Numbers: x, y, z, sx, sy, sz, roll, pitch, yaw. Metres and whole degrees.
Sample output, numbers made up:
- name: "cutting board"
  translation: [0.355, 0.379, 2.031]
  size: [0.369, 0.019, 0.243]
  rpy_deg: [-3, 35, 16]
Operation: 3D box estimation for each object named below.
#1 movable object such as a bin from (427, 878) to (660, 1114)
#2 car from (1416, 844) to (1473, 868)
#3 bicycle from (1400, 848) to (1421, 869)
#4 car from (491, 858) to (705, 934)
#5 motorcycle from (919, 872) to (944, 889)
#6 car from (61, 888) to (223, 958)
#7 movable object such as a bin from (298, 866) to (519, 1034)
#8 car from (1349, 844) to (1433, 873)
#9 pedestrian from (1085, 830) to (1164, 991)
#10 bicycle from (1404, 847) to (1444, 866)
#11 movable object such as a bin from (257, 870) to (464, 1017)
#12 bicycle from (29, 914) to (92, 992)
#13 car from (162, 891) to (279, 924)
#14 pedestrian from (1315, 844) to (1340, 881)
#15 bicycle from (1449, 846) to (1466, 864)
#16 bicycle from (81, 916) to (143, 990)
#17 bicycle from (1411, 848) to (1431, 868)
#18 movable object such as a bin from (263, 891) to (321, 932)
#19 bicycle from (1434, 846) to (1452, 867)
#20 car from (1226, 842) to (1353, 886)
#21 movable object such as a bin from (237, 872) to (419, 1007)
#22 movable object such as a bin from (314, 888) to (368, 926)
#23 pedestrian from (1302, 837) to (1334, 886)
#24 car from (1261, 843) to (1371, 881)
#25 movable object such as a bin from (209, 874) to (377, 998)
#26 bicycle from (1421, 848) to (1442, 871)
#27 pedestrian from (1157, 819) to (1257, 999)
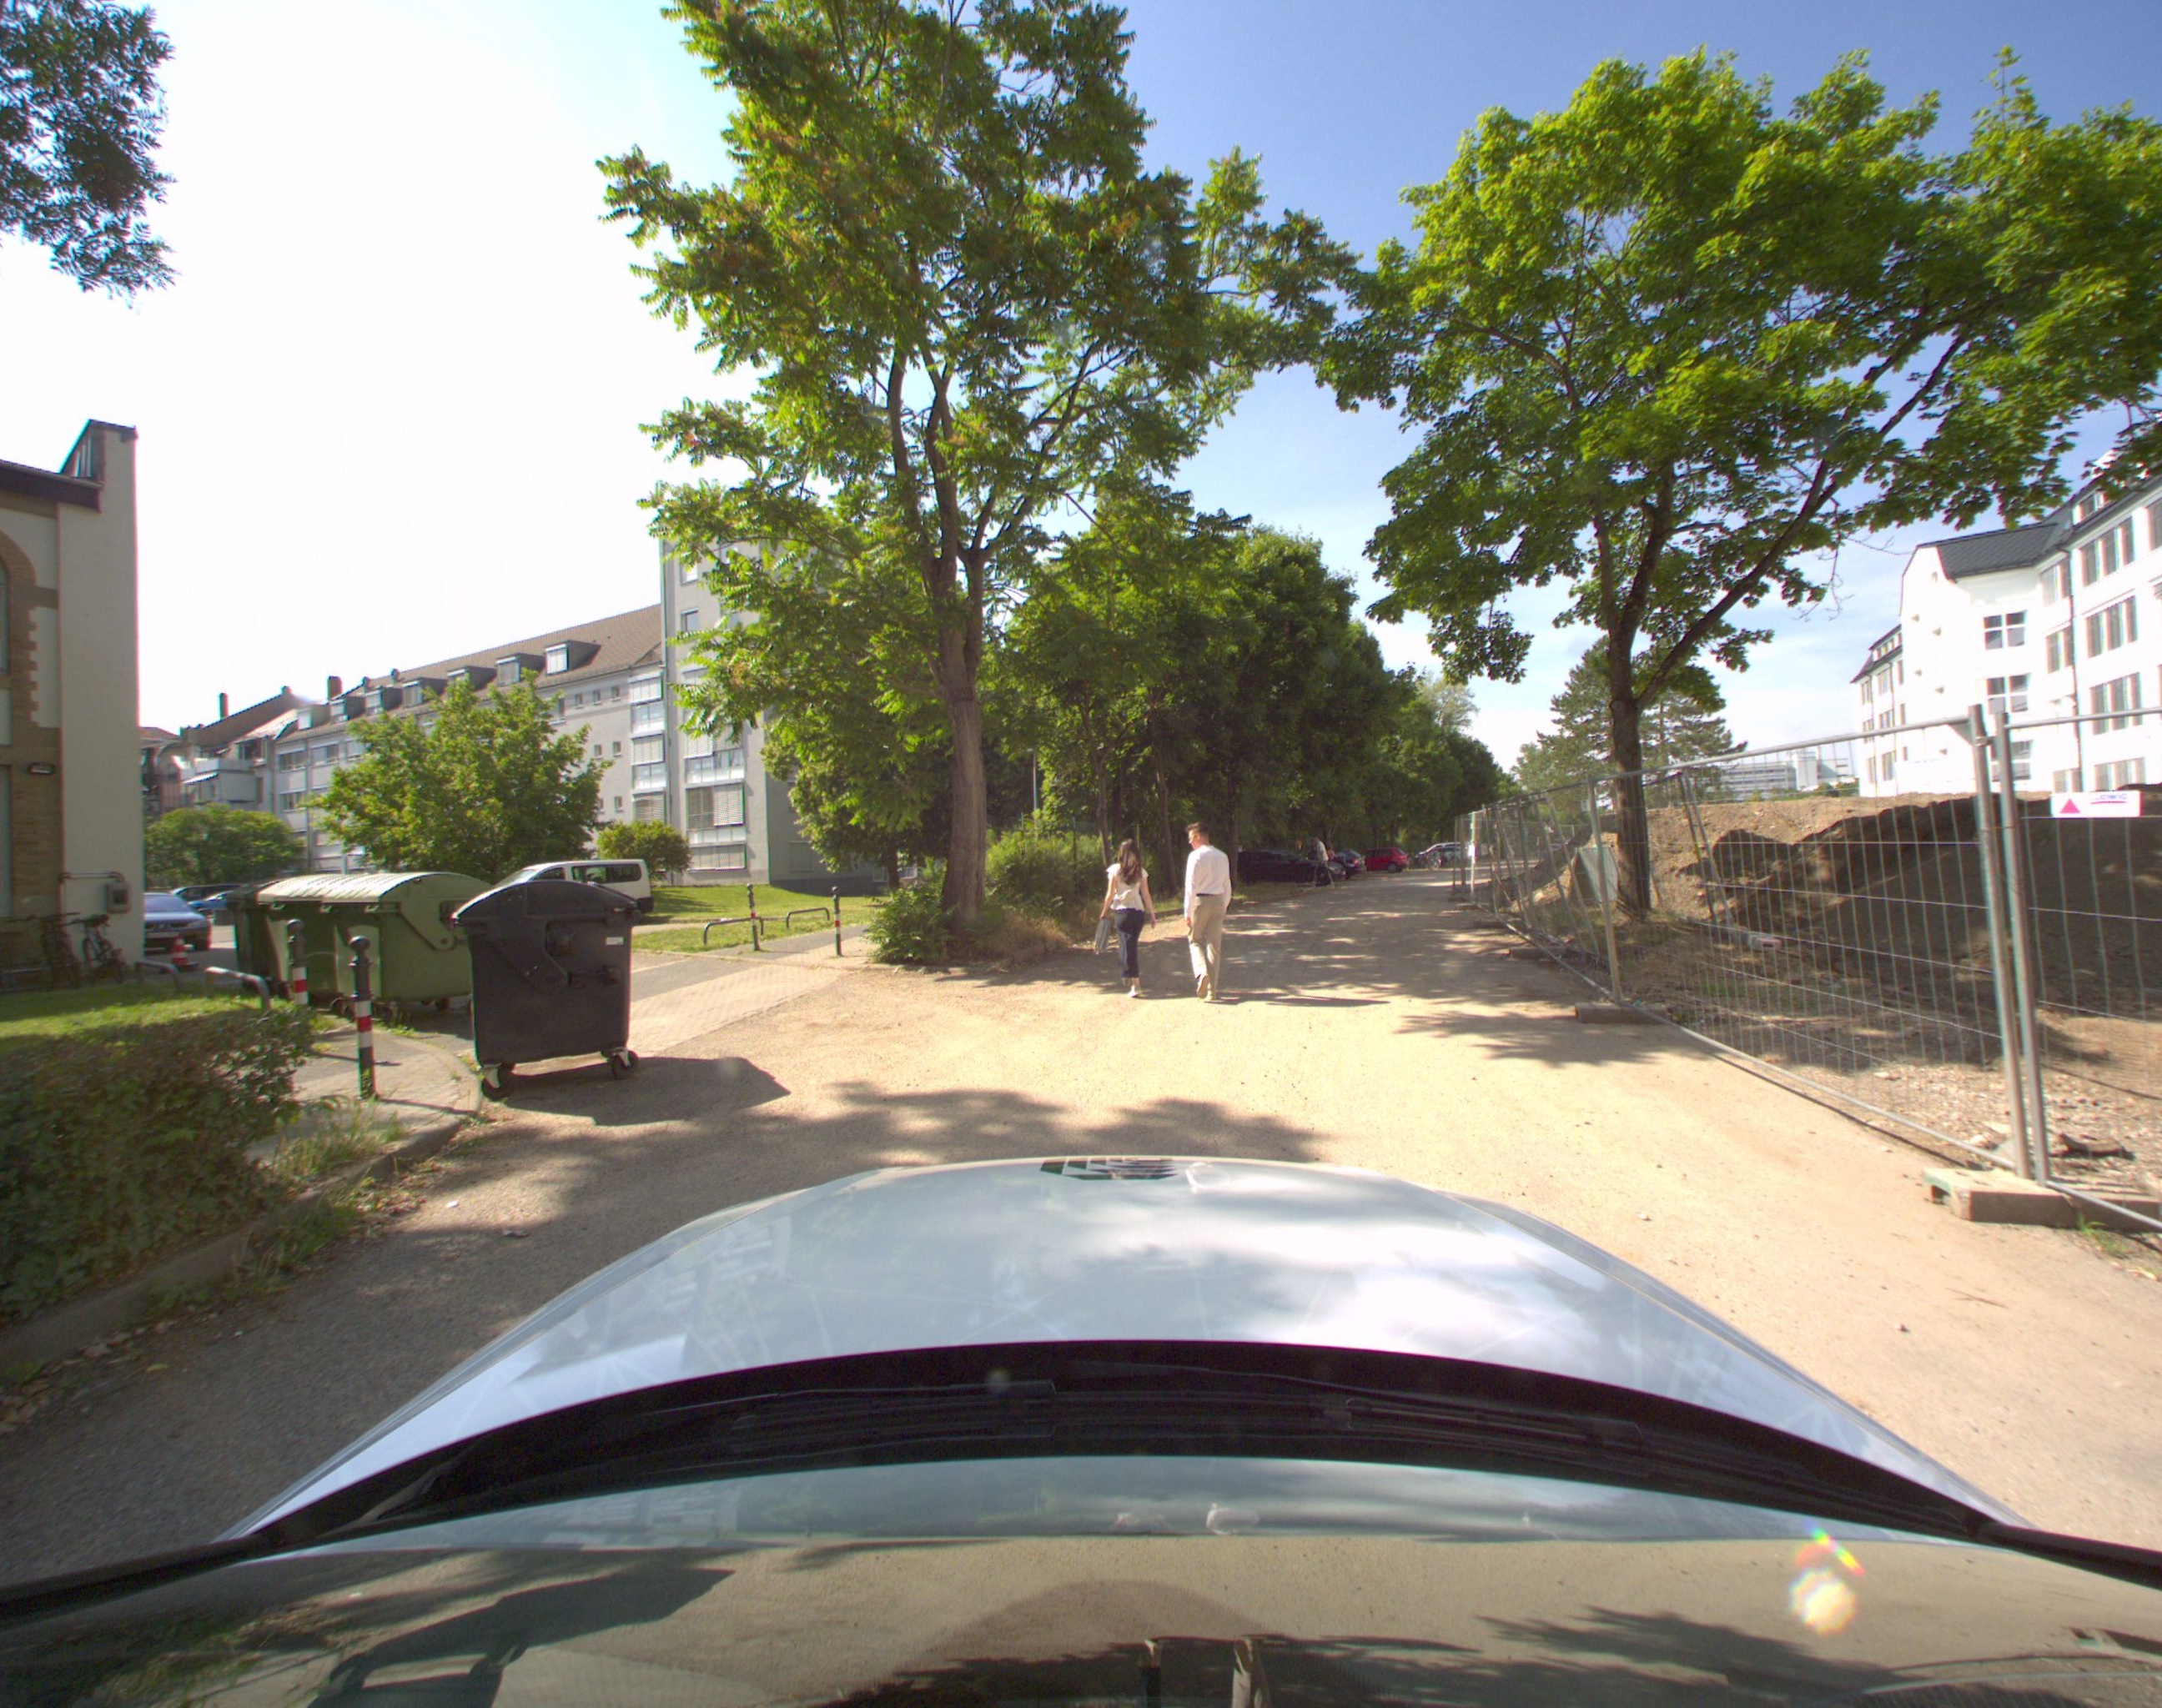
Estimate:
- name: "movable object such as a bin"
  translation: [-3.944, 0.904, 5.947]
  size: [1.255, 1.397, 1.388]
  rpy_deg: [-2, -1, -39]
- name: "car"
  translation: [29.832, 0.167, 66.805]
  size: [3.948, 1.772, 1.779]
  rpy_deg: [-2, 0, 35]
- name: "bicycle"
  translation: [20.854, 0.284, 51.477]
  size: [0.707, 1.284, 2.809]
  rpy_deg: [-2, 0, 32]
- name: "car"
  translation: [-14.162, 1.150, 24.230]
  size: [1.974, 1.933, 5.073]
  rpy_deg: [-2, -1, 34]
- name: "motorcycle"
  translation: [-11.757, 2.068, 64.164]
  size: [0.622, 1.246, 2.076]
  rpy_deg: [-2, -1, 34]
- name: "car"
  translation: [-22.373, 1.653, 19.378]
  size: [4.372, 1.442, 1.854]
  rpy_deg: [-5, -3, 32]
- name: "movable object such as a bin"
  translation: [-6.730, 0.894, 8.193]
  size: [1.322, 1.481, 1.256]
  rpy_deg: [-3, -1, 27]
- name: "car"
  translation: [18.088, 0.246, 47.548]
  size: [4.245, 1.524, 1.904]
  rpy_deg: [-2, 0, 31]
- name: "pedestrian"
  translation: [0.452, 0.584, 8.838]
  size: [0.733, 1.640, 0.780]
  rpy_deg: [-2, 0, -2]
- name: "bicycle"
  translation: [25.581, 0.200, 60.691]
  size: [2.650, 1.284, 0.824]
  rpy_deg: [-2, 0, 26]
- name: "movable object such as a bin"
  translation: [-7.886, 0.930, 8.963]
  size: [1.209, 1.431, 1.255]
  rpy_deg: [-2, -1, 22]
- name: "bicycle"
  translation: [-14.847, 1.406, 11.837]
  size: [1.609, 0.992, 0.449]
  rpy_deg: [-2, 1, 35]
- name: "car"
  translation: [-49.799, 3.047, 47.215]
  size: [1.974, 1.532, 4.270]
  rpy_deg: [-2, 1, 30]
- name: "pedestrian"
  translation: [10.980, 0.365, 36.209]
  size: [0.916, 1.595, 0.790]
  rpy_deg: [-2, 0, 24]
- name: "bicycle"
  translation: [27.970, 0.079, 60.468]
  size: [0.808, 1.284, 2.764]
  rpy_deg: [-2, 0, 32]
- name: "bicycle"
  translation: [-14.625, 1.469, 12.279]
  size: [1.521, 0.992, 0.449]
  rpy_deg: [-2, 1, 35]
- name: "bicycle"
  translation: [23.254, 0.256, 55.712]
  size: [0.808, 1.284, 2.701]
  rpy_deg: [-2, 0, 32]
- name: "movable object such as a bin"
  translation: [-28.930, 2.109, 29.879]
  size: [1.127, 1.319, 1.259]
  rpy_deg: [-4, 0, 35]
- name: "bicycle"
  translation: [23.895, 0.161, 53.745]
  size: [0.707, 1.284, 2.654]
  rpy_deg: [-2, 0, 32]
- name: "car"
  translation: [8.319, 0.402, 32.486]
  size: [4.614, 1.584, 2.011]
  rpy_deg: [-2, 1, 24]
- name: "movable object such as a bin"
  translation: [-9.004, 0.964, 9.756]
  size: [1.348, 1.431, 1.256]
  rpy_deg: [-3, -1, 32]
- name: "movable object such as a bin"
  translation: [-28.152, 1.992, 30.984]
  size: [1.127, 1.340, 1.259]
  rpy_deg: [-3, 0, 36]
- name: "pedestrian"
  translation: [8.895, 0.274, 30.514]
  size: [1.005, 1.781, 0.824]
  rpy_deg: [-2, 0, 23]
- name: "car"
  translation: [10.907, 0.391, 37.847]
  size: [4.614, 1.584, 2.011]
  rpy_deg: [-2, 1, 24]
- name: "movable object such as a bin"
  translation: [-10.237, 1.012, 10.595]
  size: [1.332, 1.431, 1.256]
  rpy_deg: [-3, -1, 32]
- name: "bicycle"
  translation: [21.459, 0.318, 49.850]
  size: [0.707, 1.284, 2.701]
  rpy_deg: [-2, 0, 32]
- name: "pedestrian"
  translation: [1.276, 0.531, 8.398]
  size: [0.754, 1.728, 0.851]
  rpy_deg: [-2, 0, -8]
